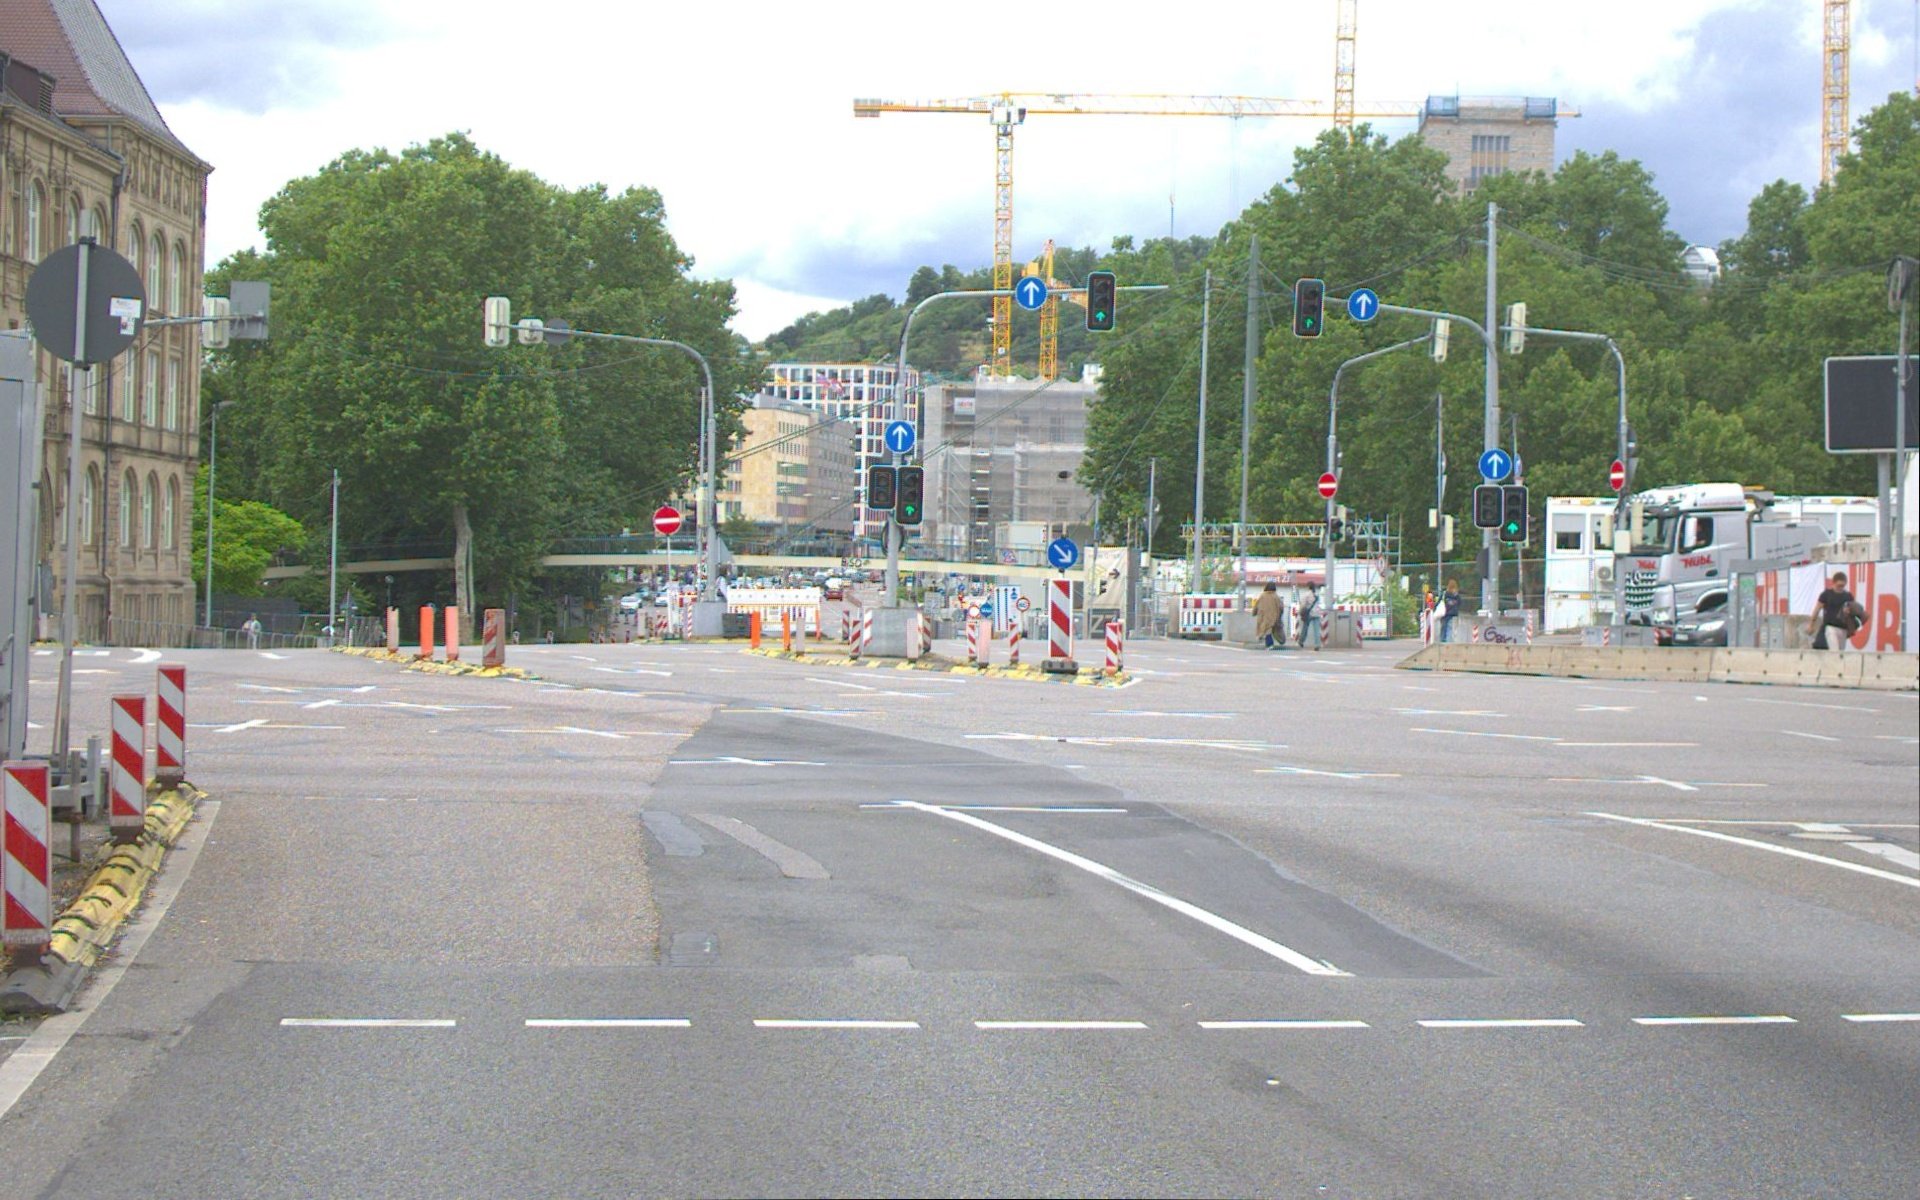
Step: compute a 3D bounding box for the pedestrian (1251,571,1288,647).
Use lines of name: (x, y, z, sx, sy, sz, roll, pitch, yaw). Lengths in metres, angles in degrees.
pedestrian: (7.021, 0.201, 78.013, 0.729, 1.683, 0.678, 1, 1, -1)

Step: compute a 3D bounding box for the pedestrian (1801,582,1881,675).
pedestrian: (13.349, 0.430, 52.107, 0.796, 1.373, 0.905, 1, 1, -17)

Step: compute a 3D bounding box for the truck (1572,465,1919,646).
truck: (21.365, -0.997, 82.010, 13.022, 4.027, 3.952, 1, 1, -20)

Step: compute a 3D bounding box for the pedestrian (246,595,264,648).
pedestrian: (-27.193, 0.838, 132.646, 0.524, 2.007, 0.567, 1, 1, 0)

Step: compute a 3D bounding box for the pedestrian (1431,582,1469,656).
pedestrian: (11.294, 0.429, 79.234, 0.622, 1.683, 0.710, 2, 1, 29)

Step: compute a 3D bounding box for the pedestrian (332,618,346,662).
pedestrian: (-28.642, 1.830, 158.559, 0.524, 2.007, 0.567, 1, 1, 0)

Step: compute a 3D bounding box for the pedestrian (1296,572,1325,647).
pedestrian: (7.966, 0.217, 78.155, 0.566, 1.683, 0.472, 1, 1, -1)

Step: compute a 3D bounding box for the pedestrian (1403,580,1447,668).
pedestrian: (9.136, 0.468, 67.561, 0.729, 1.683, 0.678, 1, 1, -1)
